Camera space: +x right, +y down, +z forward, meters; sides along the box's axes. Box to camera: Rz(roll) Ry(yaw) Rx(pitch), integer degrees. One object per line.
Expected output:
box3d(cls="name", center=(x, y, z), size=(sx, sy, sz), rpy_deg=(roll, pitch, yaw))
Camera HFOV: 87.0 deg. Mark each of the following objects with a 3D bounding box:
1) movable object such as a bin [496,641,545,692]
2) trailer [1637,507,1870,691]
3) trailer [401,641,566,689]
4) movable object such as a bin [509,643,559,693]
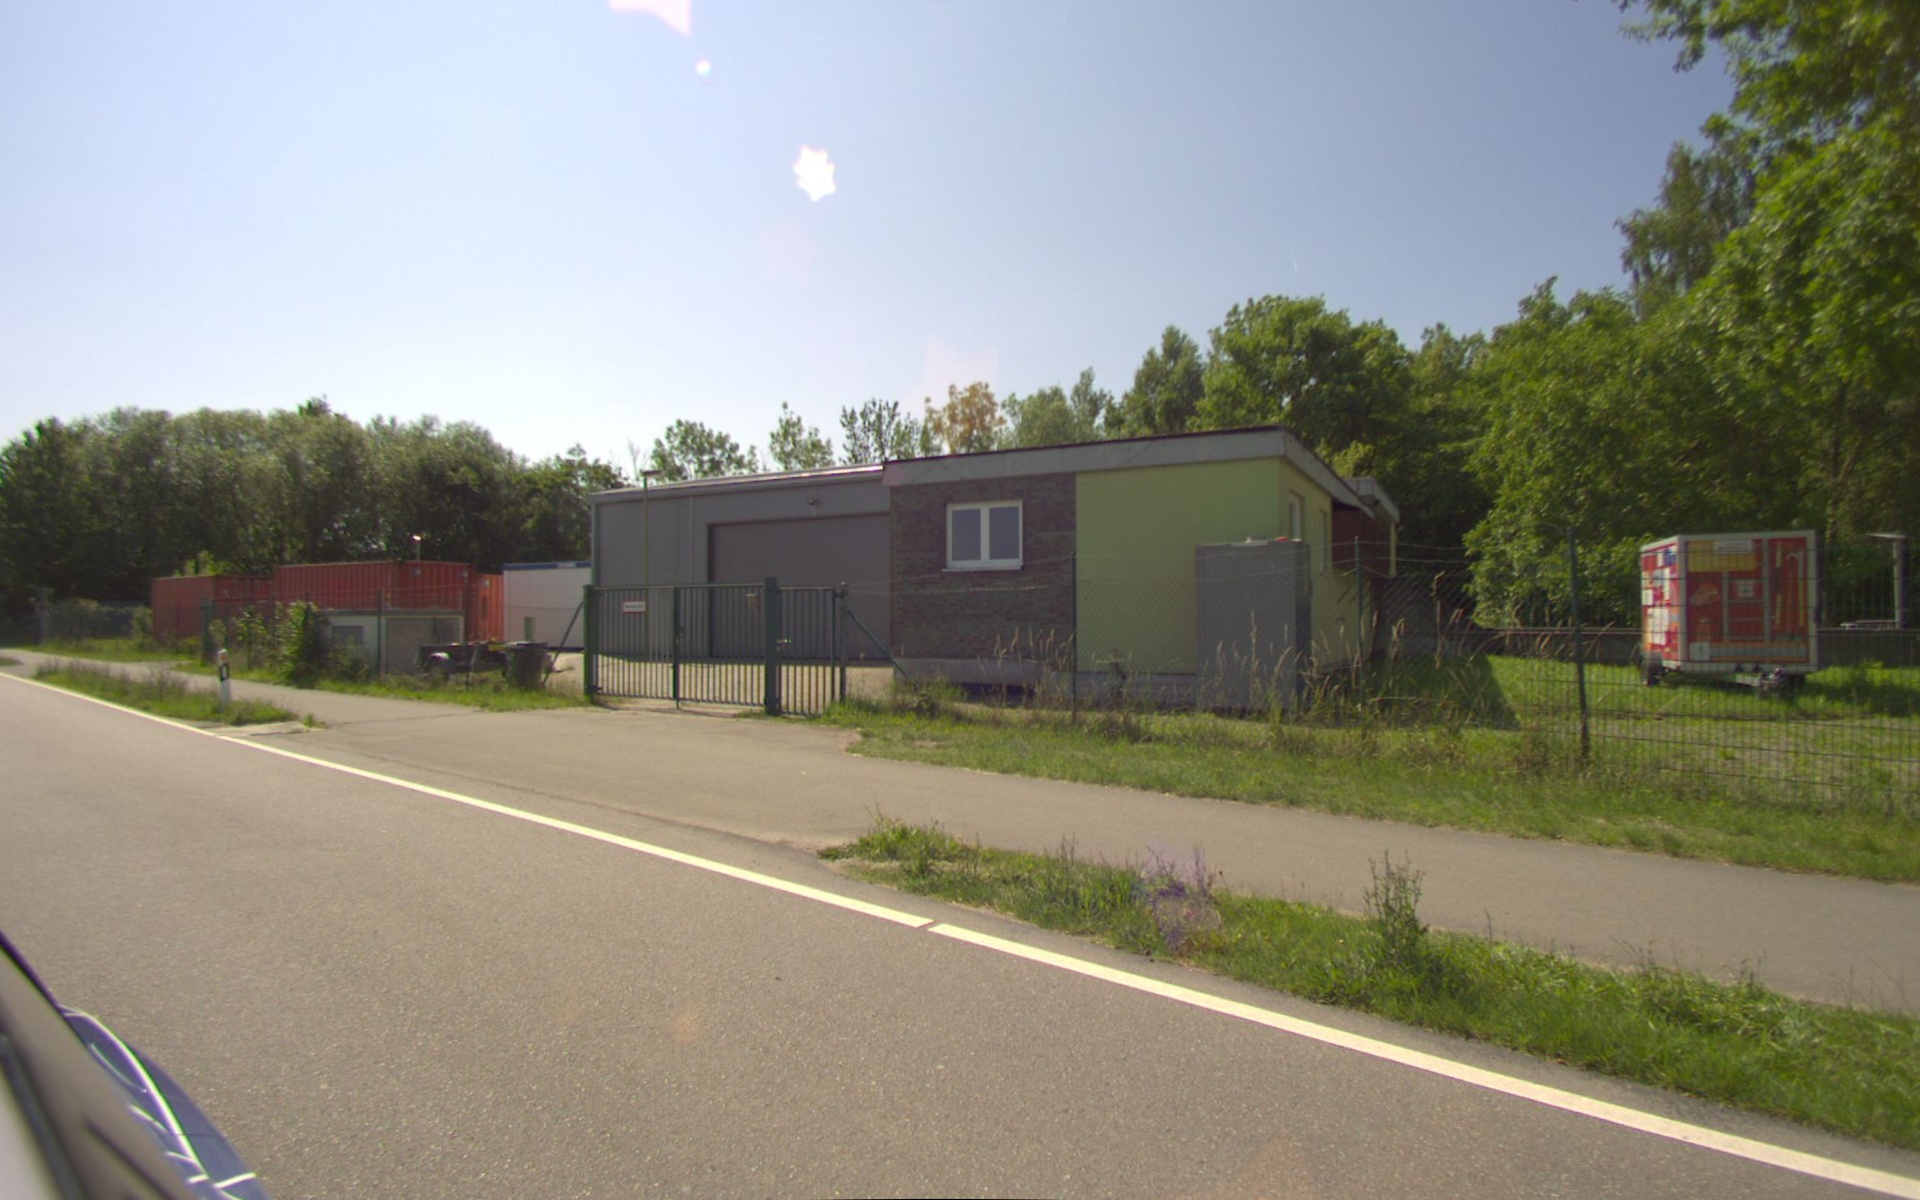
box3d(cls="movable object such as a bin", center=(-8.044, 1.205, 18.521), size=(0.631, 0.882, 0.654), rpy_deg=(2, -3, -43))
box3d(cls="trailer", center=(11.456, 0.055, 14.951), size=(1.819, 2.295, 4.199), rpy_deg=(-1, -2, 26))
box3d(cls="trailer", center=(-9.816, 1.295, 20.794), size=(3.350, 0.873, 1.617), rpy_deg=(-1, -2, 35))
box3d(cls="movable object such as a bin", center=(-7.582, 1.203, 18.019), size=(0.631, 0.861, 0.654), rpy_deg=(2, -3, -43))
